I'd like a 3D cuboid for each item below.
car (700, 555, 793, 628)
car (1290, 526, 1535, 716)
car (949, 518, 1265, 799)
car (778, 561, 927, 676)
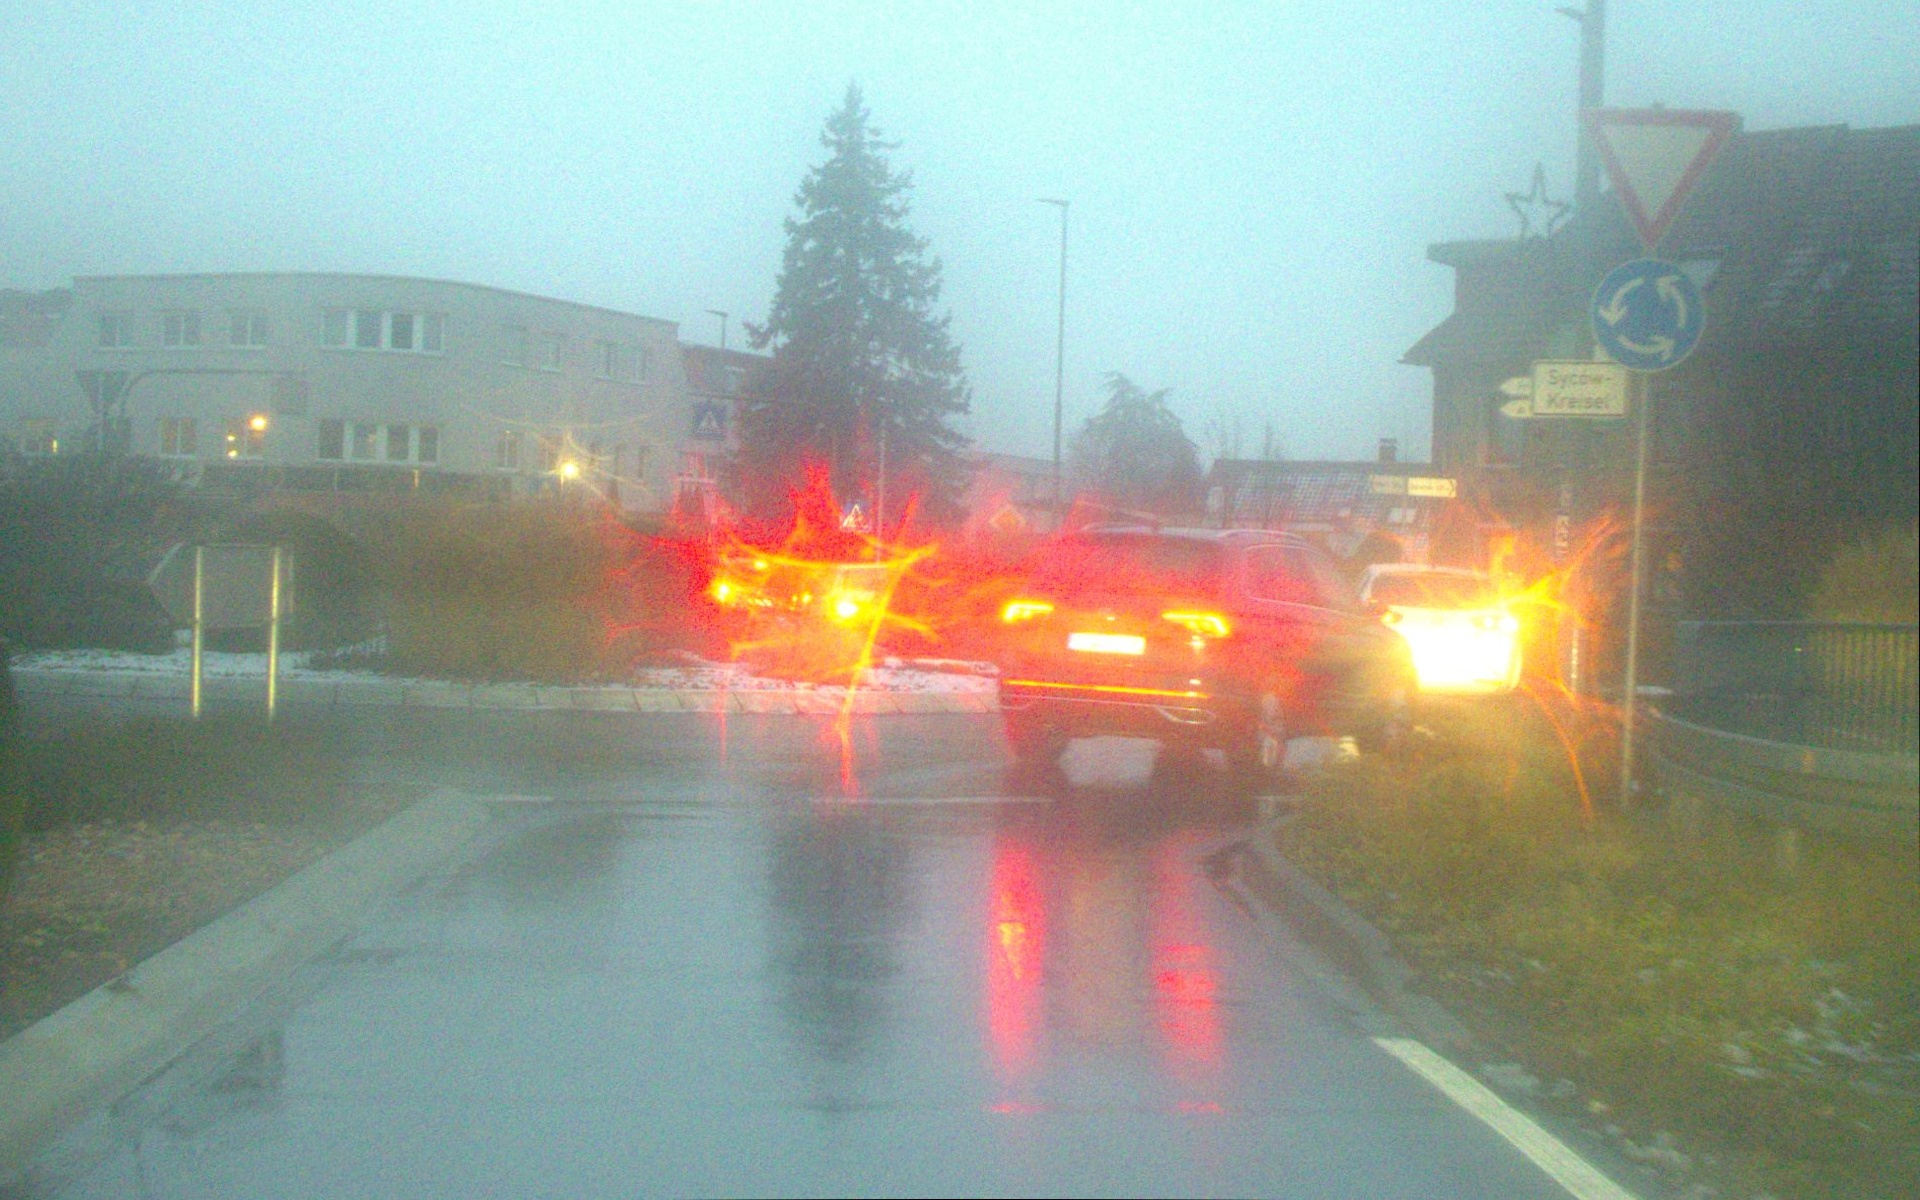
[{"bbox_3d":[-4.728,-0.192,75.659,1.772,1.539,4.001,1,0,-7],"label":"car"},{"bbox_3d":[4.486,0.146,34.751,2.164,1.683,4.571,2,2,4],"label":"car"},{"bbox_3d":[0.995,0.351,23.928,1.944,1.712,4.000,2,1,2],"label":"car"},{"bbox_3d":[-1.668,0.302,51.739,1.882,1.609,4.572,1,-1,-6],"label":"car"}]
